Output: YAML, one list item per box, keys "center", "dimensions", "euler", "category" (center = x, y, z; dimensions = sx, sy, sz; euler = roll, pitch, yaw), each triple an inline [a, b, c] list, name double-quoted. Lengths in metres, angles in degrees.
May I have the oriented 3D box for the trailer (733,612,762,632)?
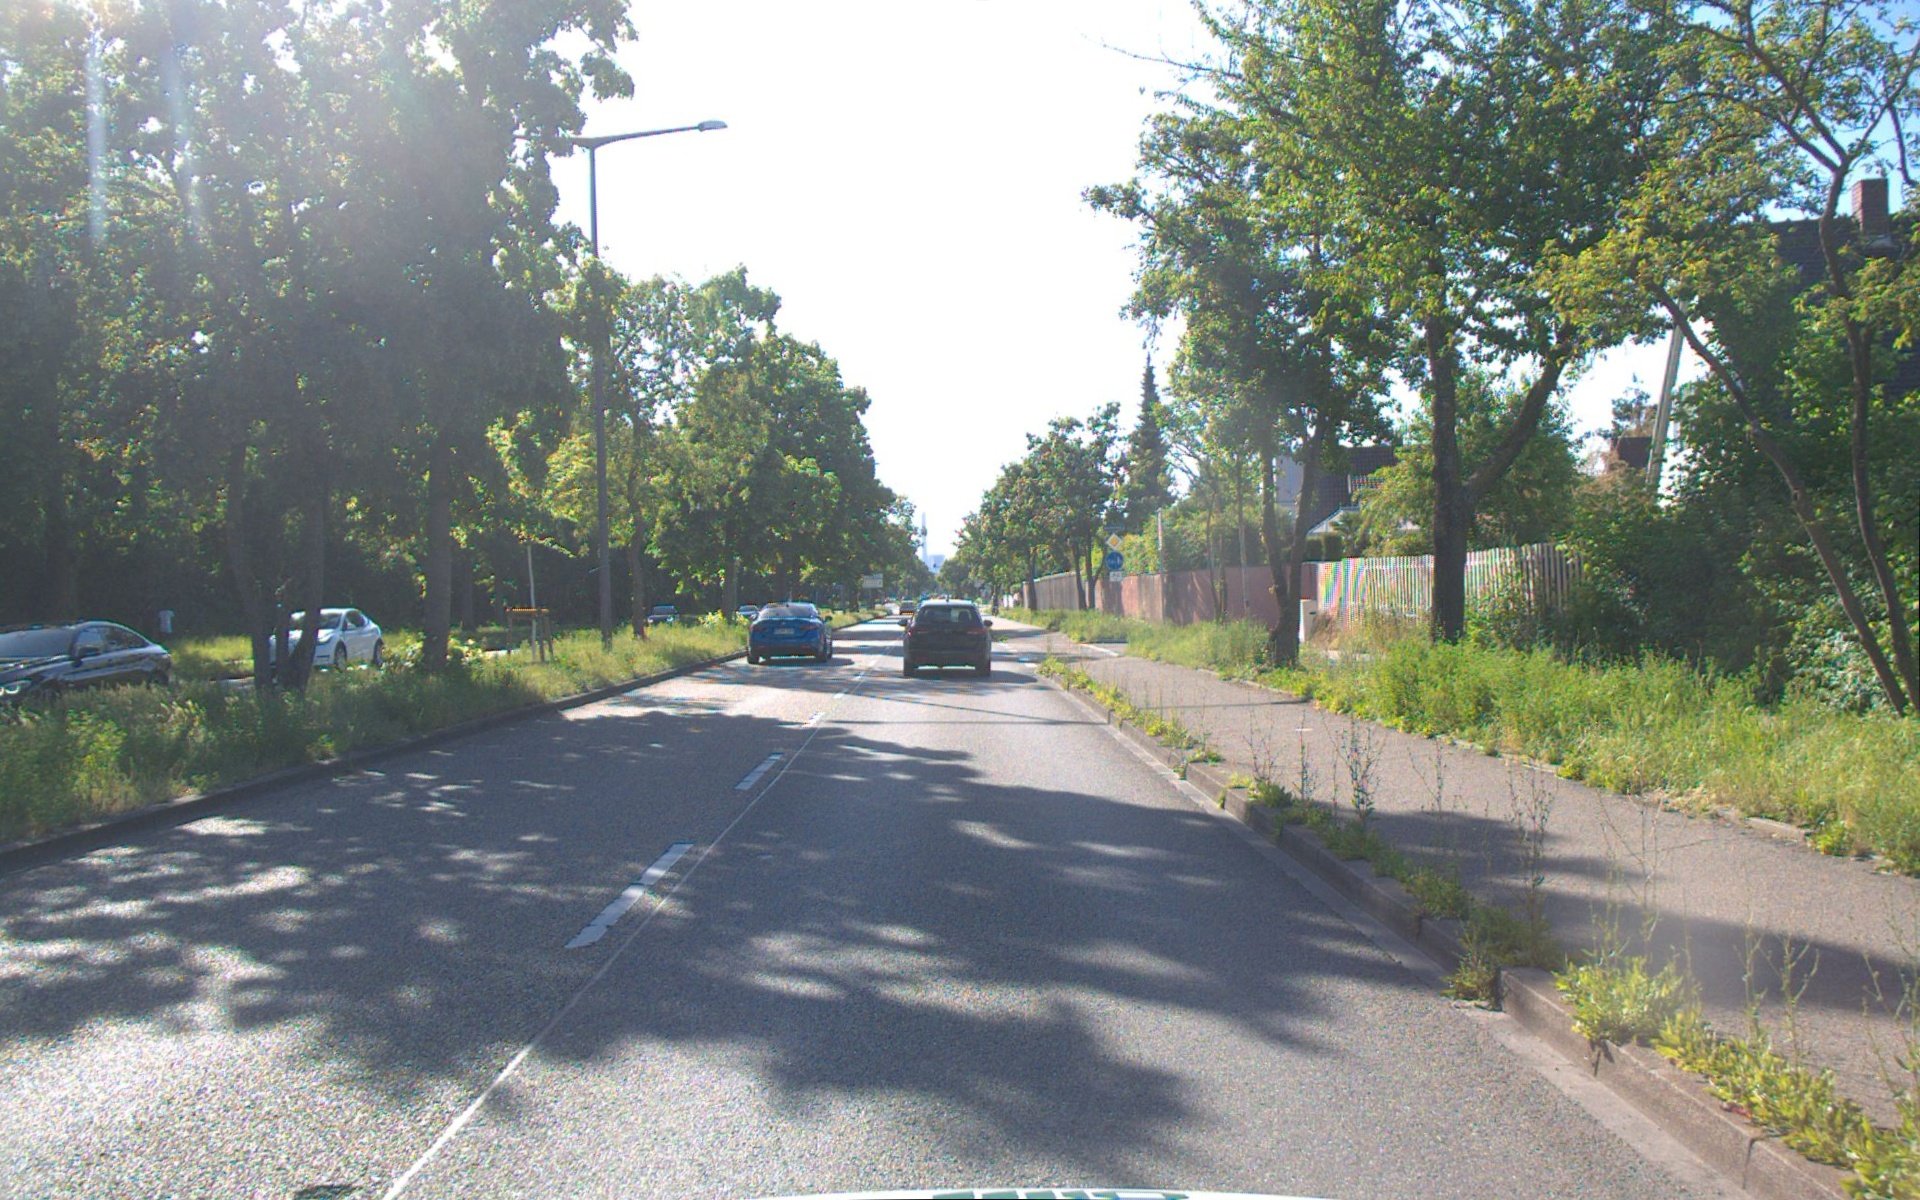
- center: [-17.086, 1.734, 133.434]
  dimensions: [1.705, 1.449, 4.496]
  euler: [-3, 0, 0]
  category: "trailer"

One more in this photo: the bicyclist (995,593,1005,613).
- center: [2.859, 0.220, 118.947]
  dimensions: [0.666, 1.443, 0.812]
  euler: [-1, 0, -1]
  category: "bicyclist"

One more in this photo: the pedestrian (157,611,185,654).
- center: [-27.620, 1.138, 57.904]
  dimensions: [0.533, 1.485, 0.917]
  euler: [-1, 0, -1]
  category: "pedestrian"

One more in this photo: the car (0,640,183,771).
- center: [-11.941, 1.302, 21.520]
  dimensions: [1.667, 1.419, 4.250]
  euler: [-1, 0, -1]
  category: "car"

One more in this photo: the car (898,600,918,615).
- center: [-5.616, 0.787, 178.297]
  dimensions: [1.939, 1.465, 3.997]
  euler: [-1, 1, -5]
  category: "car"

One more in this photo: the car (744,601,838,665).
- center: [-4.059, 0.761, 40.282]
  dimensions: [1.954, 1.429, 3.999]
  euler: [-1, 0, -2]
  category: "car"

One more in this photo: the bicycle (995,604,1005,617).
- center: [2.888, 0.778, 118.825]
  dimensions: [0.642, 0.908, 1.874]
  euler: [-1, 0, -1]
  category: "bicycle"

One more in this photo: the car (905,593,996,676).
- center: [-0.172, 0.662, 33.542]
  dimensions: [1.724, 1.586, 4.000]
  euler: [0, 0, 0]
  category: "car"

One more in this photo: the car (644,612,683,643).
- center: [-17.203, 1.608, 96.074]
  dimensions: [1.681, 1.531, 3.015]
  euler: [-4, 2, -2]
  category: "car"

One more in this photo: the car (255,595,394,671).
- center: [-16.227, 0.798, 42.488]
  dimensions: [1.804, 1.616, 4.583]
  euler: [-7, 1, -2]
  category: "car"

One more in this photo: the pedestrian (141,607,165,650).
- center: [-28.194, 0.990, 57.792]
  dimensions: [0.533, 1.485, 0.596]
  euler: [-1, 0, -1]
  category: "pedestrian"
